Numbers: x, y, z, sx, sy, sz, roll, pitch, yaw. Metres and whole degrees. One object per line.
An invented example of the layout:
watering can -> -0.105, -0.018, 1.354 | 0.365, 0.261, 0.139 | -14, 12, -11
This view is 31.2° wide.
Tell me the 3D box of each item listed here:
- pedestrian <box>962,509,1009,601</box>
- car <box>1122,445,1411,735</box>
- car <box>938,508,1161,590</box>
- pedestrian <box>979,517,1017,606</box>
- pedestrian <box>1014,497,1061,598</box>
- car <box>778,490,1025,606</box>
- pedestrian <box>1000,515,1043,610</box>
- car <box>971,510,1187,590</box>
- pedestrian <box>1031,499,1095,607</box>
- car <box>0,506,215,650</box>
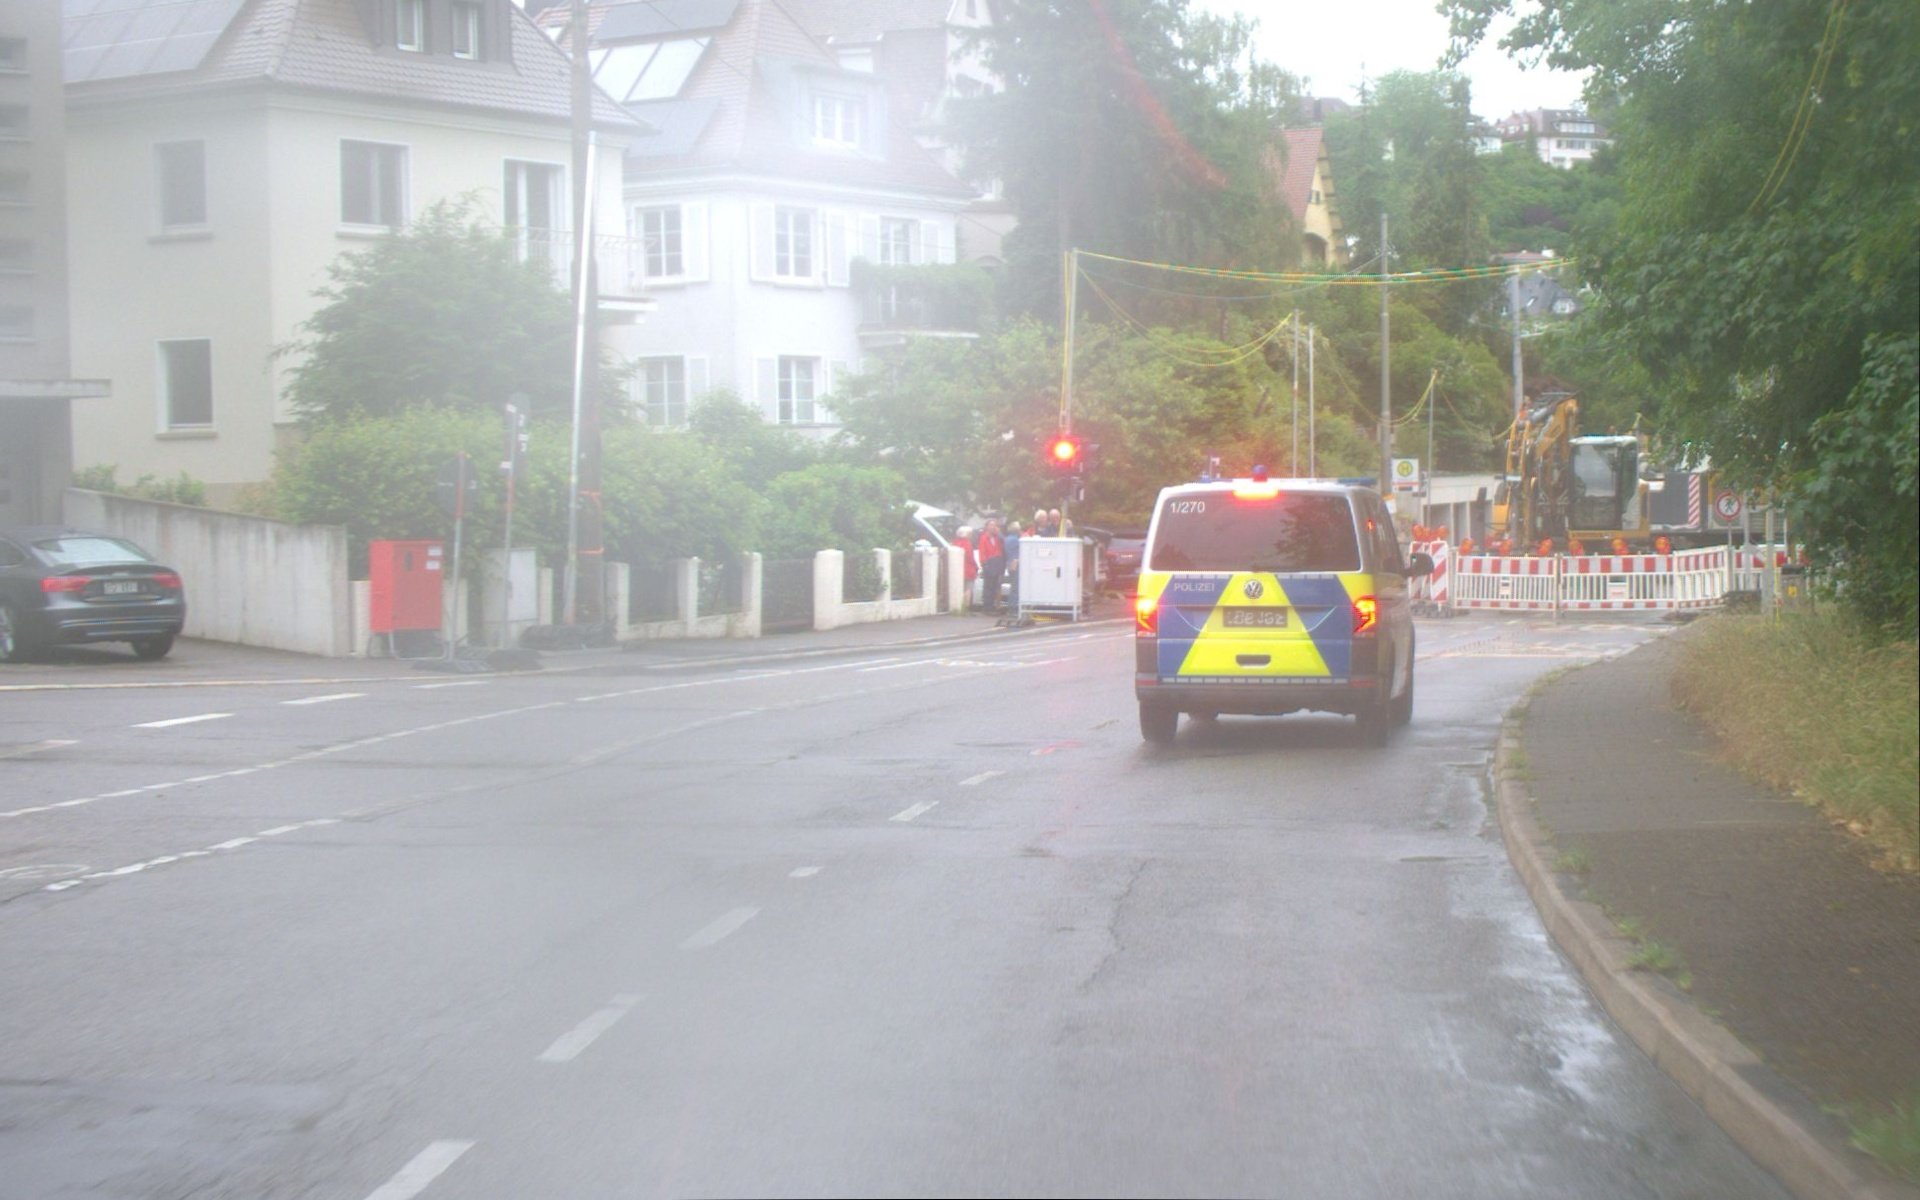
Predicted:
pedestrian -> 0.439, -0.760, 58.194 | 0.626, 1.516, 0.592 | 2, -1, 15
car -> 2.327, -0.133, 26.871 | 1.994, 2.006, 4.401 | -2, 1, 3
car -> 1.774, -1.009, 68.068 | 3.992, 1.481, 1.757 | 2, -1, 24
pedestrian -> 0.651, -0.656, 58.871 | 0.525, 1.501, 0.429 | 2, -1, 15
pedestrian -> 1.341, -0.907, 59.276 | 0.626, 1.709, 0.592 | 2, -1, 15
car -> -1.035, -0.936, 61.086 | 3.992, 2.007, 1.828 | 1, 1, 25
pedestrian -> 1.027, -0.624, 57.472 | 0.563, 1.577, 0.468 | 2, -1, 15
car -> 2.425, -1.020, 70.121 | 3.992, 1.481, 1.757 | 2, -1, 24
pedestrian -> 1.752, -0.788, 58.270 | 0.890, 1.781, 0.828 | 2, -1, 12
car -> -9.871, -0.277, 36.924 | 1.834, 1.438, 3.998 | -2, 2, -44
